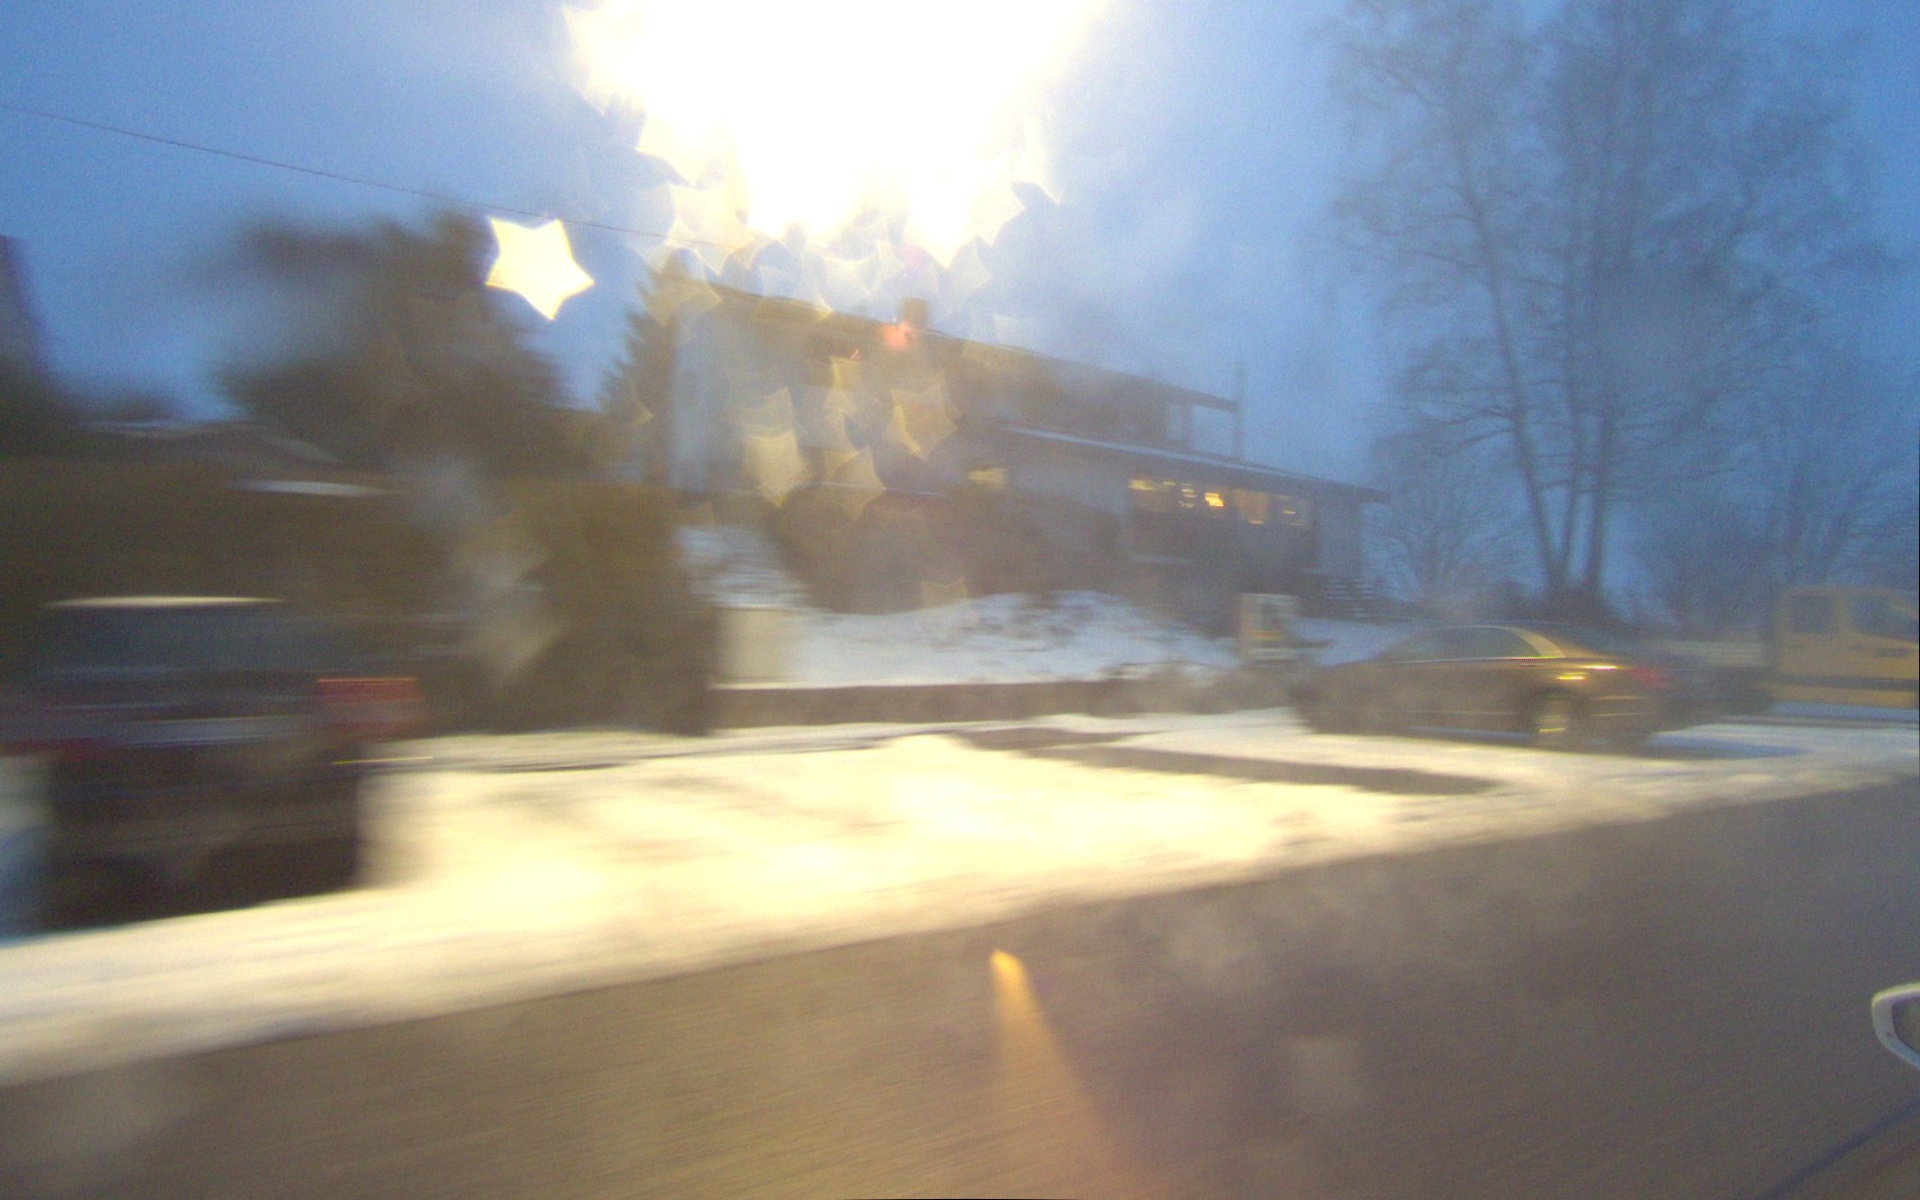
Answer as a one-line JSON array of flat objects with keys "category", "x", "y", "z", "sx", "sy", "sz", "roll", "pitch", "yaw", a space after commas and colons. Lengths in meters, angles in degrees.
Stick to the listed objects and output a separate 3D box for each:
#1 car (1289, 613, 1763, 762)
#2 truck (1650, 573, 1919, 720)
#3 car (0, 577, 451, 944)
[{"category": "car", "x": 6.862, "y": 1.001, "z": 12.806, "sx": 2.100, "sy": 1.504, "sz": 4.860, "roll": 1, "pitch": -3, "yaw": -32}, {"category": "truck", "x": 15.381, "y": 0.801, "z": 17.448, "sx": 1.979, "sy": 2.333, "sz": 5.231, "roll": 1, "pitch": -3, "yaw": -33}, {"category": "car", "x": -4.477, "y": 0.728, "z": 6.056, "sx": 1.920, "sy": 1.491, "sz": 3.828, "roll": 1, "pitch": -3, "yaw": -36}]
